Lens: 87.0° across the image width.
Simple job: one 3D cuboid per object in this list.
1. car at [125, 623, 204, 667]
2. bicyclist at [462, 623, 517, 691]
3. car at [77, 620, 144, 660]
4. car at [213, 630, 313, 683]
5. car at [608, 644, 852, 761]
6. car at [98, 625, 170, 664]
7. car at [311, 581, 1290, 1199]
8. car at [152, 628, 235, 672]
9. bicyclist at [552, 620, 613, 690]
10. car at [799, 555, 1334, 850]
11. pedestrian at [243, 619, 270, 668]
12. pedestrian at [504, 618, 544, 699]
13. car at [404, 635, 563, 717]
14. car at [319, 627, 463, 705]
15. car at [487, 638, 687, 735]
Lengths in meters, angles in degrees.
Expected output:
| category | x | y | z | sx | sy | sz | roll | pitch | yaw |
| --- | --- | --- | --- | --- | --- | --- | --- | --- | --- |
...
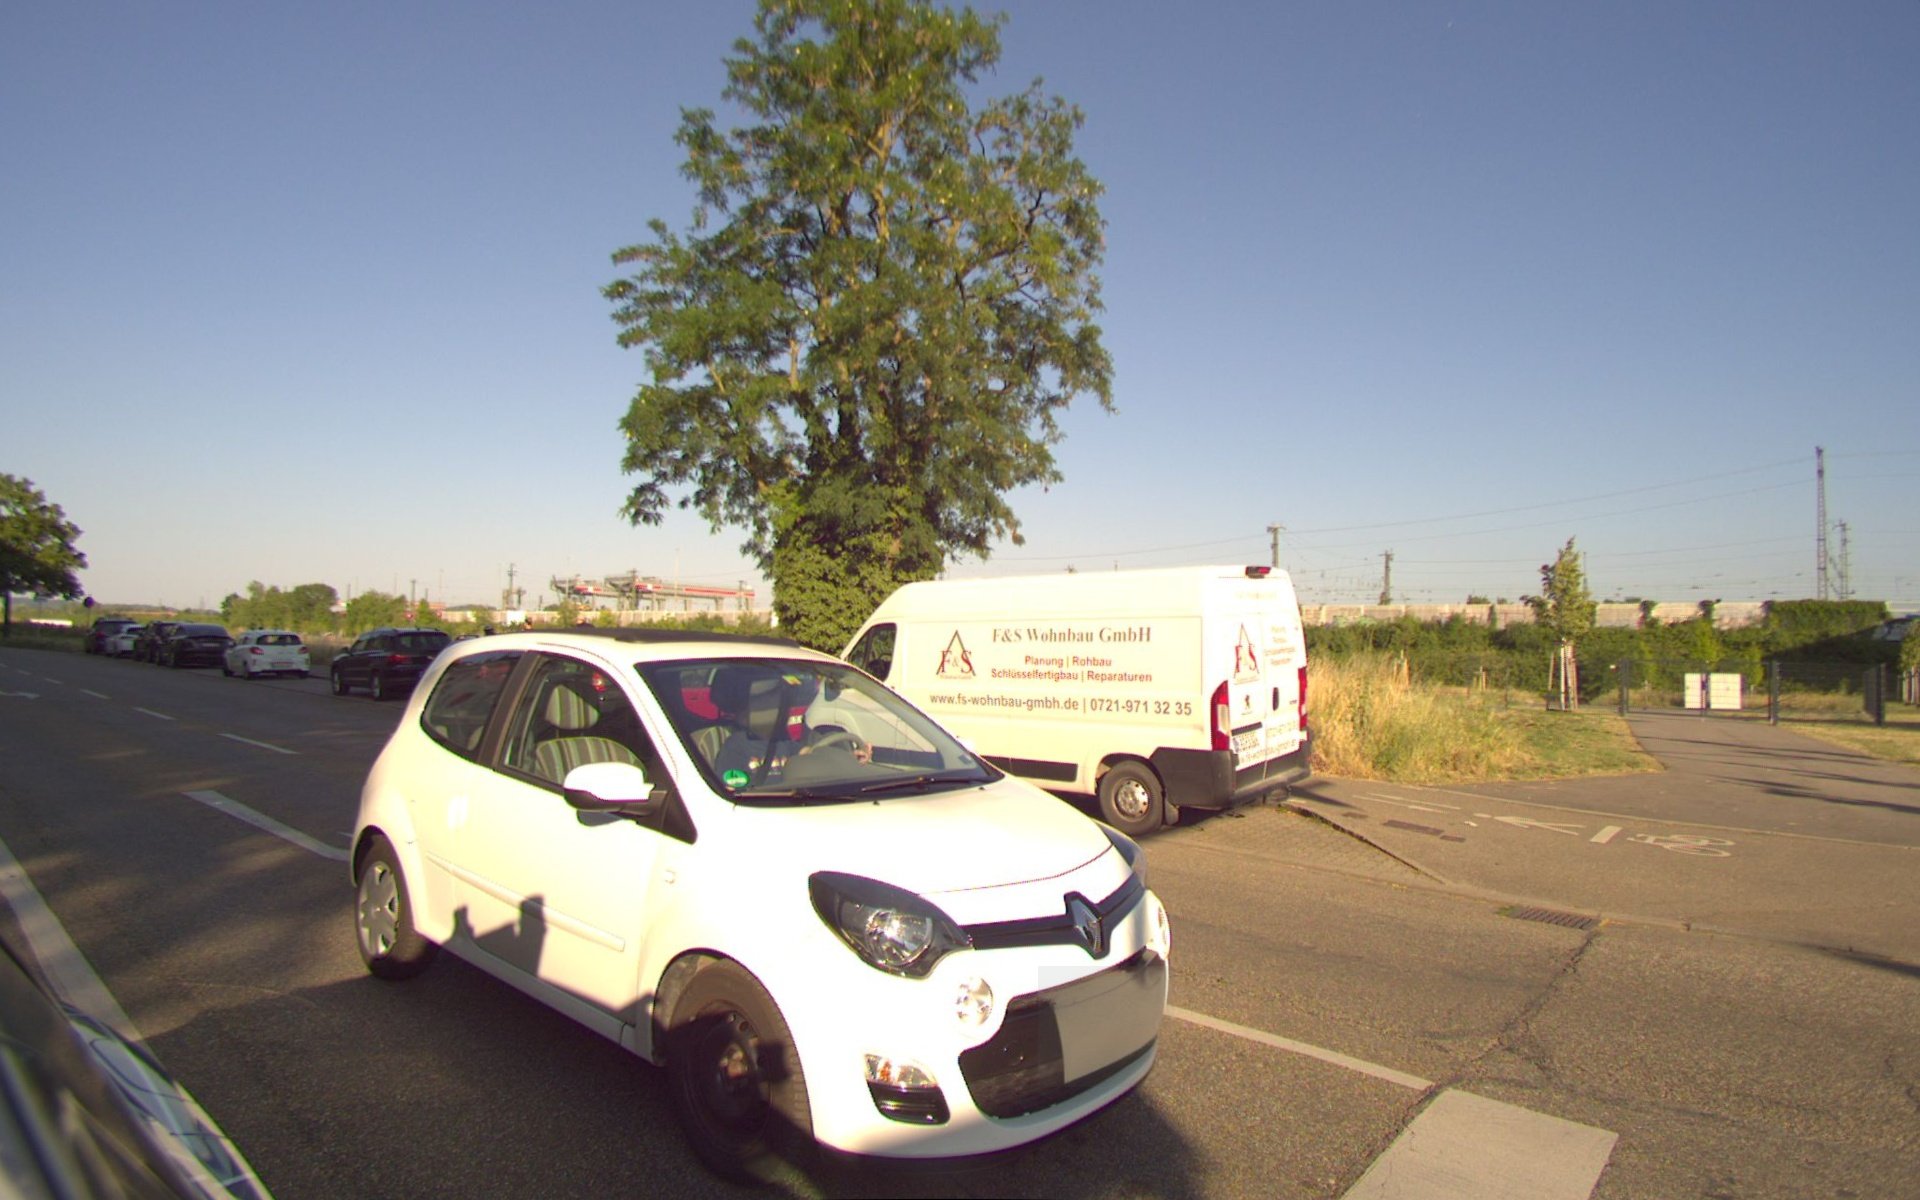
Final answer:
| category | x | y | z | sx | sy | sz | roll | pitch | yaw |
| --- | --- | --- | --- | --- | --- | --- | --- | --- | --- |
| car | -32.390 | 1.816 | 41.152 | 4.219 | 1.650 | 1.799 | -1 | -4 | 43 |
| bicyclist | -11.376 | 1.372 | 24.451 | 1.146 | 1.609 | 0.758 | -1 | -4 | 43 |
| car | -40.847 | 1.900 | 48.611 | 4.219 | 1.789 | 1.866 | -1 | -4 | 43 |
| car | -21.566 | 1.734 | 31.295 | 3.582 | 1.538 | 1.684 | -1 | -4 | 42 |
| car | -3.556 | 1.476 | 15.399 | 3.692 | 1.498 | 1.723 | -1 | -4 | 40 |
| car | -36.477 | 1.956 | 44.663 | 4.219 | 1.586 | 1.799 | -1 | -4 | 43 |
| car | -0.877 | 0.775 | 3.945 | 3.772 | 1.480 | 1.683 | -1 | -4 | 40 |
| car | -28.241 | 1.819 | 37.231 | 1.798 | 1.538 | 4.292 | 5 | -4 | -45 |
| bicyclist | -8.896 | 1.297 | 23.861 | 1.145 | 1.609 | 0.855 | -1 | -4 | 41 |
| car | 0.921 | 0.896 | 11.085 | 5.556 | 2.455 | 2.207 | -1 | -1 | 40 |
| pedestrian | -29.737 | 1.832 | 42.761 | 0.710 | 2.029 | 0.697 | -1 | -4 | 42 |
| pedestrian | -11.177 | 1.488 | 25.950 | 0.729 | 2.029 | 0.608 | -1 | -4 | 39 |
| car | -10.022 | 1.549 | 21.200 | 3.577 | 1.541 | 1.642 | -1 | -4 | 40 |
| car | -13.604 | 1.528 | 24.118 | 4.003 | 1.672 | 1.642 | -1 | -4 | 40 |
| car | -6.806 | 1.497 | 18.321 | 3.814 | 1.541 | 1.723 | -1 | -4 | 40 |
